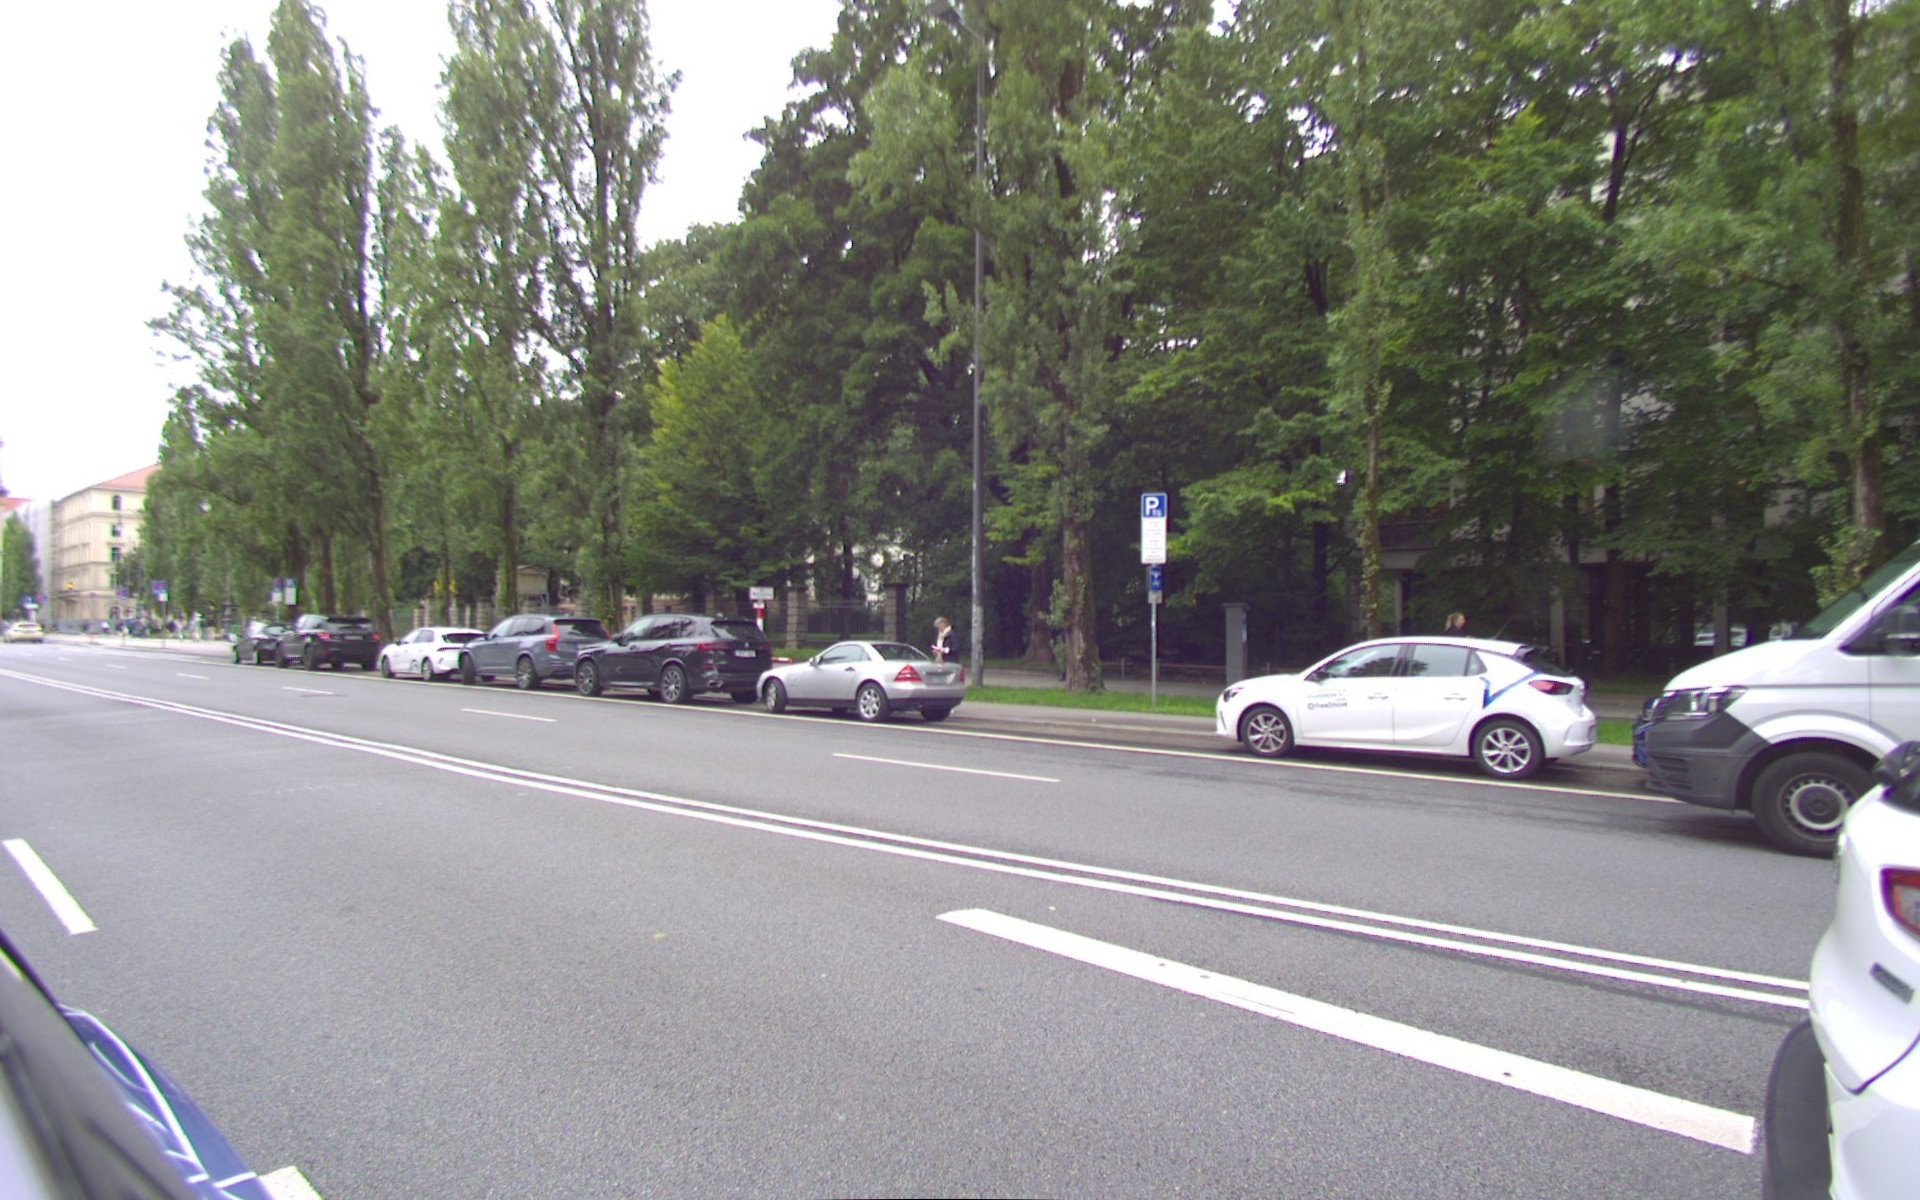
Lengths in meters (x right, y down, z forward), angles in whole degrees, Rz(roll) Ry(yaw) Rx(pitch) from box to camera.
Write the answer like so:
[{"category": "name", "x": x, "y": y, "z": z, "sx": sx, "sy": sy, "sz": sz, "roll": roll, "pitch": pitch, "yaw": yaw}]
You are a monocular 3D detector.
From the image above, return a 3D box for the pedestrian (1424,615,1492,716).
[{"category": "pedestrian", "x": 8.962, "y": 1.160, "z": 18.215, "sx": 0.956, "sy": 1.755, "sz": 0.659, "roll": -2, "pitch": -2, "yaw": 41}]

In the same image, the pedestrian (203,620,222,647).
[{"category": "pedestrian", "x": -49.879, "y": 2.211, "z": 67.519, "sx": 1.092, "sy": 1.786, "sz": 0.702, "roll": -1, "pitch": -2, "yaw": 39}]

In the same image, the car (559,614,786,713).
[{"category": "car", "x": -5.916, "y": 1.241, "z": 20.528, "sx": 4.890, "sy": 1.781, "sz": 1.922, "roll": -1, "pitch": -4, "yaw": 39}]

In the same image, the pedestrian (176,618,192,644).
[{"category": "pedestrian", "x": -52.359, "y": 2.074, "z": 68.303, "sx": 0.885, "sy": 1.713, "sz": 0.681, "roll": -2, "pitch": -2, "yaw": 39}]

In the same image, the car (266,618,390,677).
[{"category": "car", "x": -20.840, "y": 1.541, "z": 33.301, "sx": 4.796, "sy": 1.800, "sz": 2.025, "roll": -1, "pitch": -4, "yaw": 40}]

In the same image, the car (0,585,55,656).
[{"category": "car", "x": -64.700, "y": 1.420, "z": 70.241, "sx": 1.323, "sy": 4.521, "sz": 1.783, "roll": -31, "pitch": -36, "yaw": 16}]

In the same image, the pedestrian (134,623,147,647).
[{"category": "pedestrian", "x": -59.633, "y": 2.557, "z": 73.683, "sx": 0.581, "sy": 1.744, "sz": 0.527, "roll": -1, "pitch": -2, "yaw": 29}]

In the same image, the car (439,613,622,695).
[{"category": "car", "x": -10.502, "y": 1.289, "z": 24.555, "sx": 5.175, "sy": 1.803, "sz": 1.890, "roll": -1, "pitch": -5, "yaw": 40}]

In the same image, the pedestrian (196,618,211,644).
[{"category": "pedestrian", "x": -51.651, "y": 2.114, "z": 69.095, "sx": 0.910, "sy": 1.729, "sz": 0.653, "roll": -2, "pitch": -2, "yaw": 40}]

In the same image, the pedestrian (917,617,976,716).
[{"category": "pedestrian", "x": -0.234, "y": 1.134, "z": 17.599, "sx": 0.751, "sy": 1.677, "sz": 0.730, "roll": -1, "pitch": -2, "yaw": 41}]

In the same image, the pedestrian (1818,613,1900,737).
[{"category": "pedestrian", "x": 13.529, "y": 1.096, "z": 15.253, "sx": 0.889, "sy": 1.785, "sz": 0.729, "roll": -1, "pitch": -1, "yaw": 41}]

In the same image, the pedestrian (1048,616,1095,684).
[{"category": "pedestrian", "x": 2.714, "y": 1.204, "z": 24.676, "sx": 0.881, "sy": 1.611, "sz": 0.729, "roll": -1, "pitch": -1, "yaw": 41}]

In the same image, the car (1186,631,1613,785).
[{"category": "car", "x": 4.954, "y": 1.128, "z": 11.723, "sx": 4.229, "sy": 1.463, "sz": 1.753, "roll": -1, "pitch": -4, "yaw": 39}]

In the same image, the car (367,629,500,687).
[{"category": "car", "x": -14.486, "y": 1.555, "z": 27.779, "sx": 4.269, "sy": 1.470, "sz": 1.687, "roll": -1, "pitch": -4, "yaw": 40}]

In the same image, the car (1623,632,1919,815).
[{"category": "car", "x": 8.102, "y": 1.053, "z": 8.962, "sx": 3.582, "sy": 1.462, "sz": 1.692, "roll": -1, "pitch": -4, "yaw": 39}]

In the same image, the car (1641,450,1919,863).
[{"category": "car", "x": 8.040, "y": 0.353, "z": 5.737, "sx": 6.751, "sy": 2.502, "sz": 2.205, "roll": -1, "pitch": -4, "yaw": 40}]

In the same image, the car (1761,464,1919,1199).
[{"category": "car", "x": 3.009, "y": 0.600, "z": 0.460, "sx": 4.008, "sy": 1.537, "sz": 1.884, "roll": -2, "pitch": -2, "yaw": 43}]

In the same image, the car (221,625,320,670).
[{"category": "car", "x": -25.577, "y": 1.745, "z": 37.493, "sx": 4.386, "sy": 1.596, "sz": 1.924, "roll": -1, "pitch": -4, "yaw": 41}]

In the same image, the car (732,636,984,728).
[{"category": "car", "x": -1.812, "y": 1.332, "z": 17.202, "sx": 4.230, "sy": 1.344, "sz": 1.808, "roll": -1, "pitch": -4, "yaw": 40}]

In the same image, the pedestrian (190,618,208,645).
[{"category": "pedestrian", "x": -50.340, "y": 2.066, "z": 66.927, "sx": 1.092, "sy": 1.786, "sz": 0.702, "roll": -1, "pitch": -2, "yaw": 39}]
